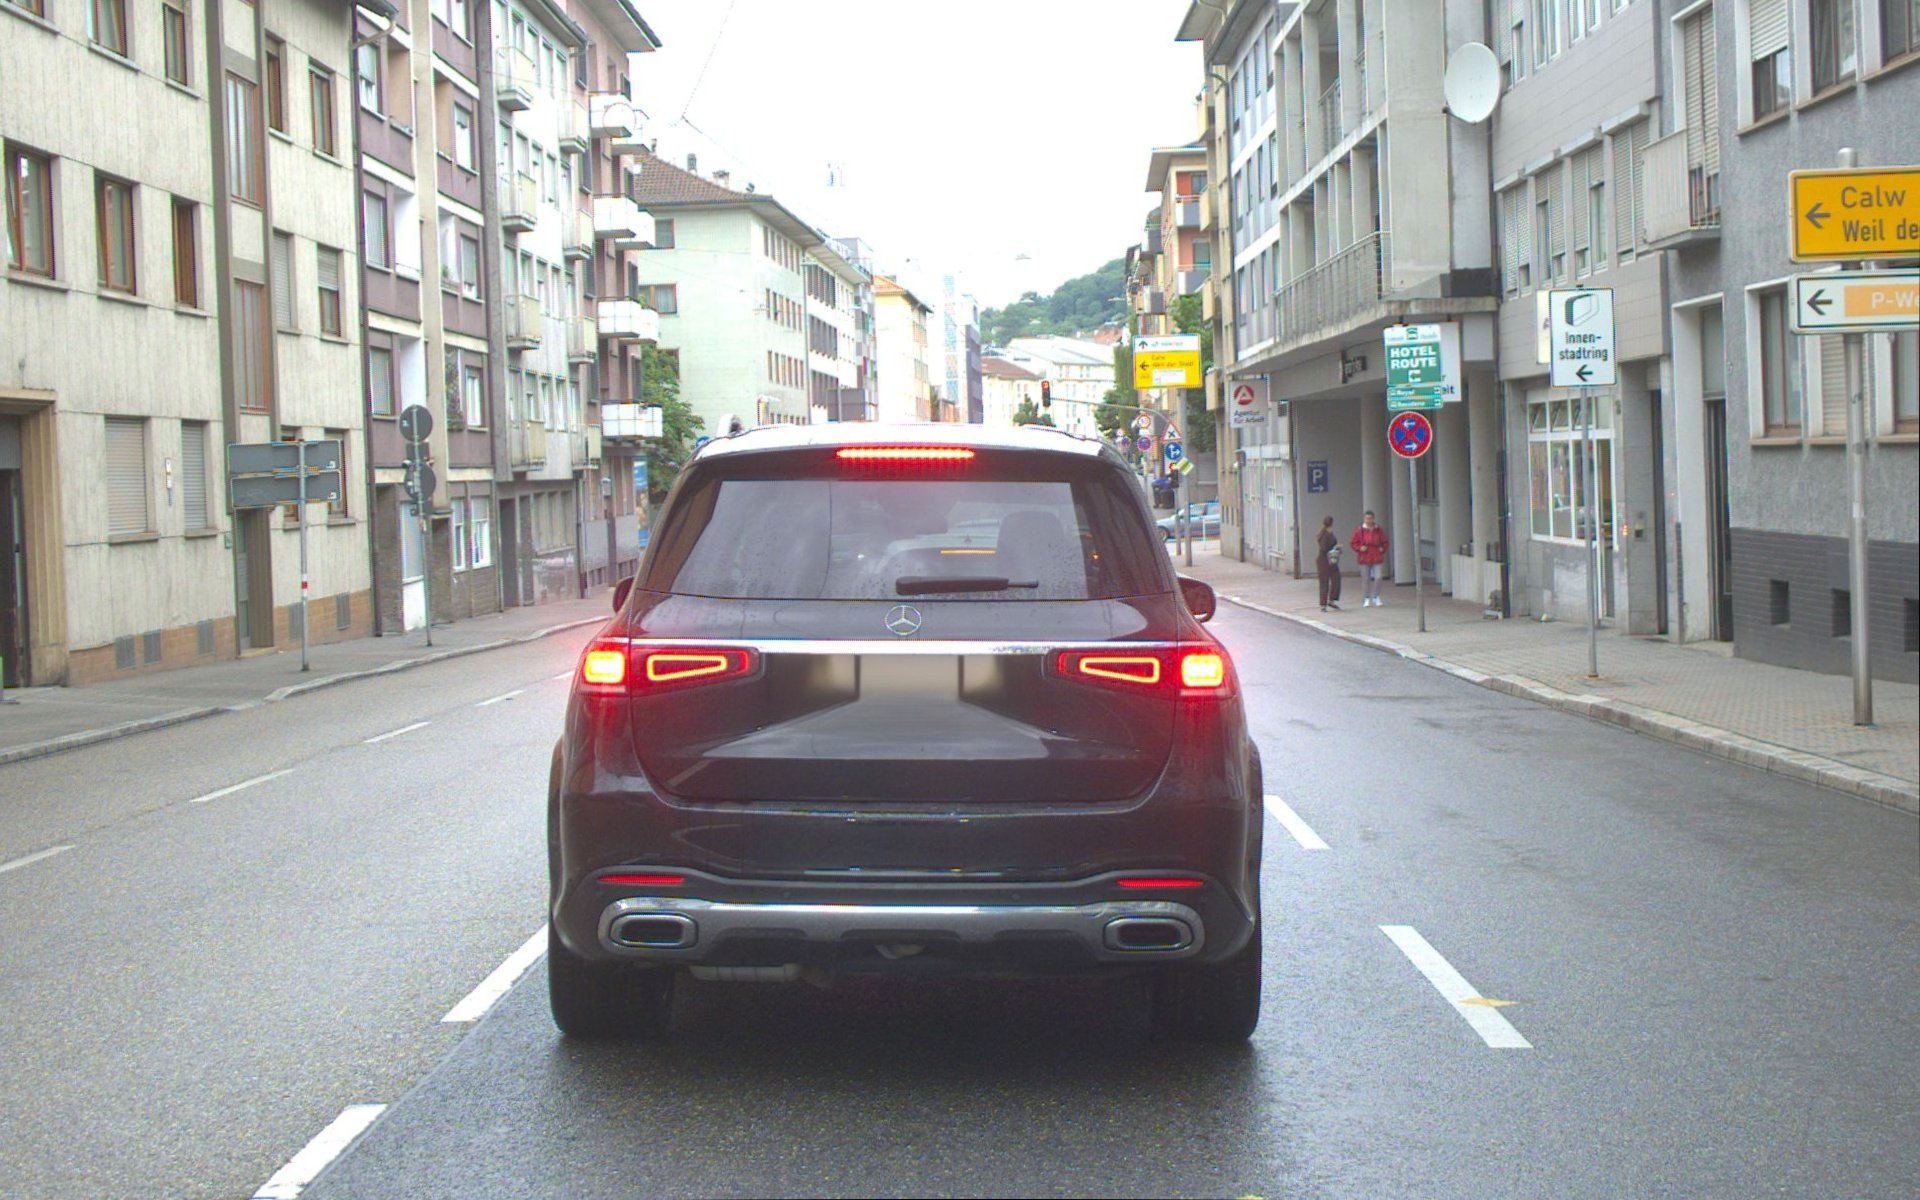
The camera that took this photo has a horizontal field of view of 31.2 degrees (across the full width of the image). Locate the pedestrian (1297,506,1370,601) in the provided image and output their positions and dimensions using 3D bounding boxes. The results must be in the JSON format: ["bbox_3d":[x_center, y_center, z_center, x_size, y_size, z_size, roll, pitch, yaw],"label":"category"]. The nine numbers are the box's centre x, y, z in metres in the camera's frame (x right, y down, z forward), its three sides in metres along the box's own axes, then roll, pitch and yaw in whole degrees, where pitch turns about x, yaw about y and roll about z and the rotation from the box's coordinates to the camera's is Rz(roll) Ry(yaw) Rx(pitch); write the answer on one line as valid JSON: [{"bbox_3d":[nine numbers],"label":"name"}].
[{"bbox_3d":[6.196,-0.780,57.011,0.821,1.560,0.900,-1,2,-30],"label":"pedestrian"}]

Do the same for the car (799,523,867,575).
[{"bbox_3d":[-3.756,-1.528,102.434,1.891,1.453,4.550,0,2,-1],"label":"car"}]

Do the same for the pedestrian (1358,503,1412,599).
[{"bbox_3d":[7.020,-0.819,56.854,0.821,1.560,0.899,0,2,3],"label":"pedestrian"}]

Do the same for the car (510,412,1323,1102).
[{"bbox_3d":[-0.140,0.324,11.145,2.076,1.759,4.612,0,2,-1],"label":"car"}]

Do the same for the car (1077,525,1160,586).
[{"bbox_3d":[3.841,-1.113,83.934,1.734,1.383,4.583,0,2,-1],"label":"car"}]

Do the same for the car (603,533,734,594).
[{"bbox_3d":[-9.797,-1.245,115.705,3.989,2.006,1.999,0,2,12],"label":"car"}]

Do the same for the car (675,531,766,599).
[{"bbox_3d":[-5.511,-0.832,79.560,1.891,1.453,4.550,0,2,-1],"label":"car"}]

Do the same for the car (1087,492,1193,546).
[{"bbox_3d":[6.846,-3.084,130.603,3.987,2.006,2.000,0,2,3],"label":"car"}]

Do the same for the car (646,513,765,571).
[{"bbox_3d":[-9.033,-2.056,122.289,3.987,2.006,2.000,0,2,3],"label":"car"}]
